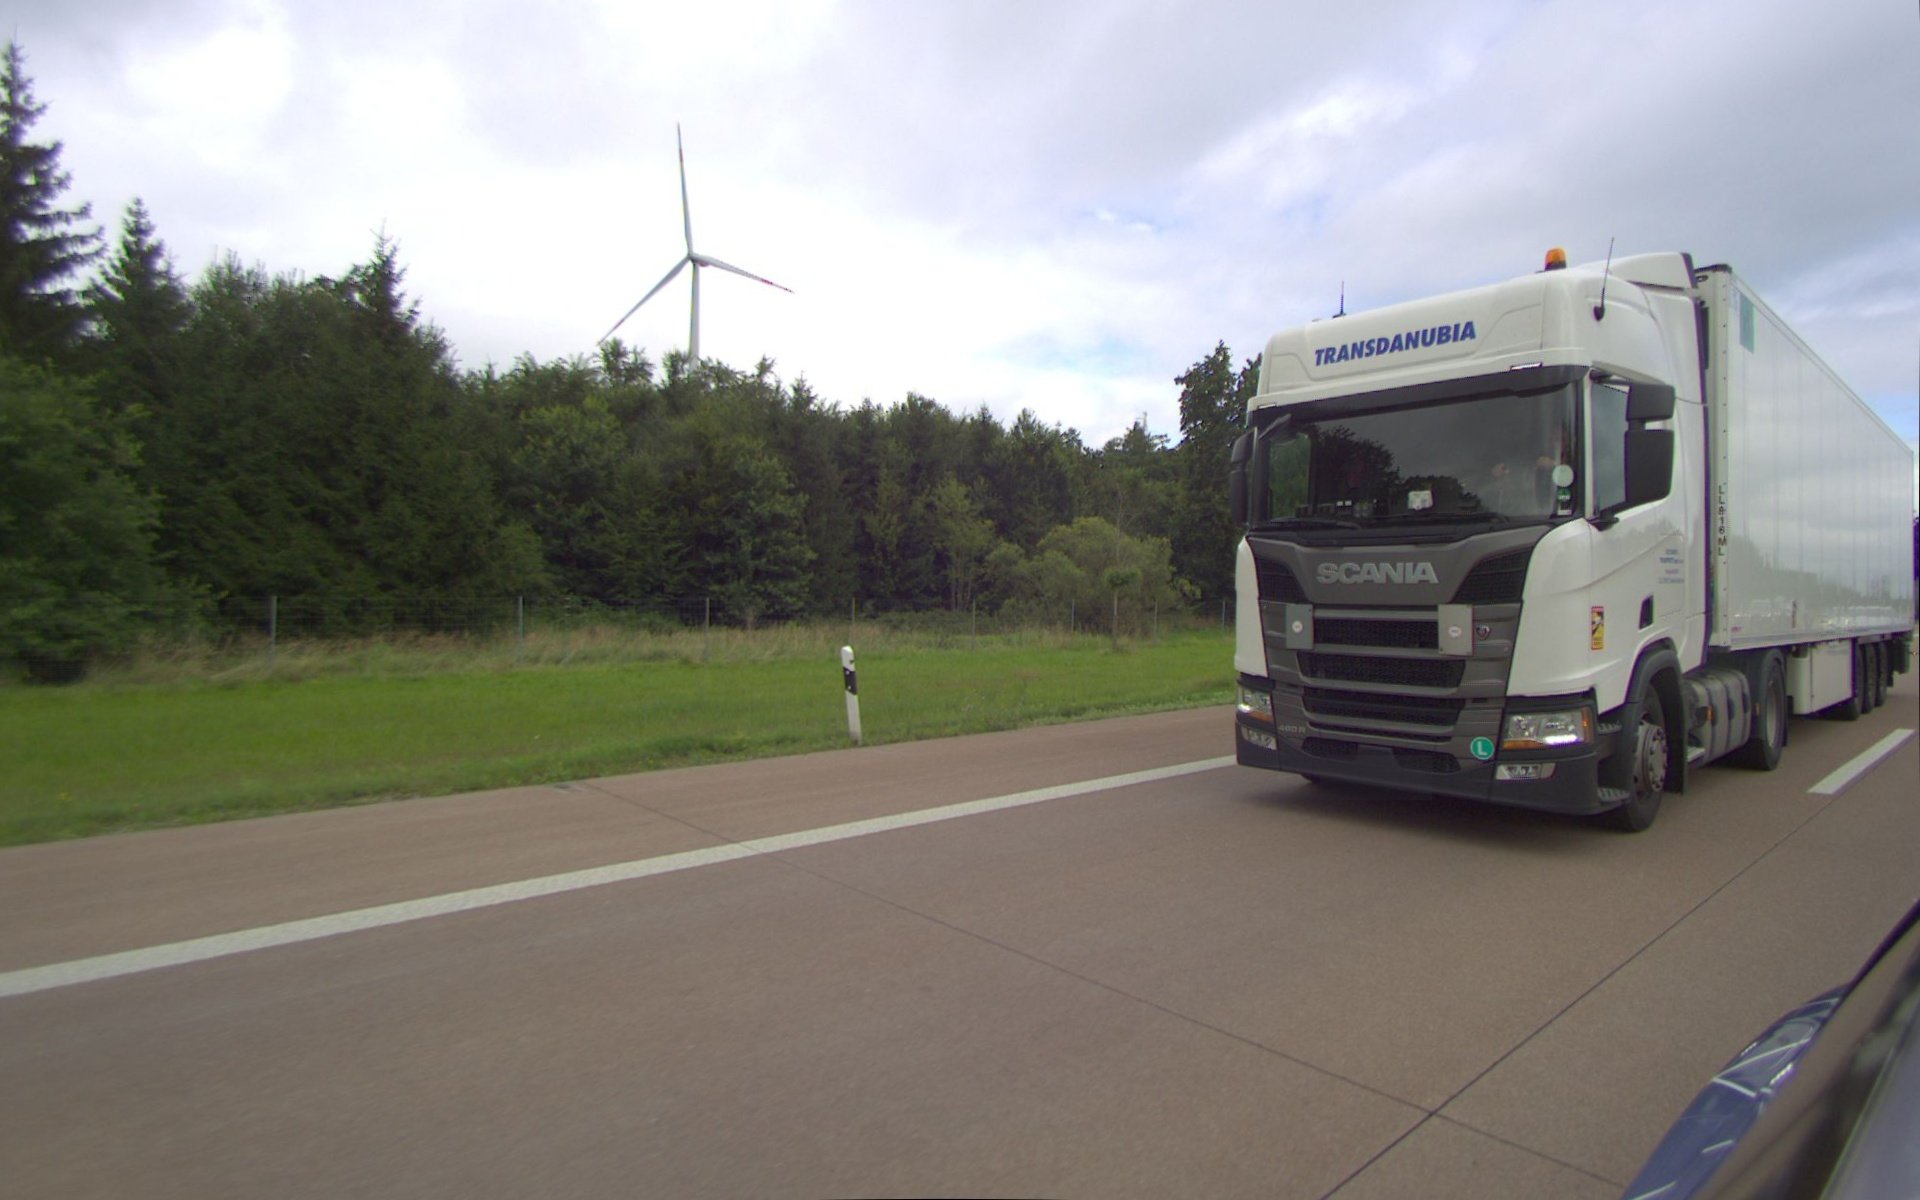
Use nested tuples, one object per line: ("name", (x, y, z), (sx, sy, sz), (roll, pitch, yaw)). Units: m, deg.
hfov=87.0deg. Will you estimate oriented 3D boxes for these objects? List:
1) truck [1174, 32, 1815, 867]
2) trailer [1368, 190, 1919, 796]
("truck", (4.498, -0.808, 8.128), (5.242, 4.348, 2.926), (0, 0, -42))
("trailer", (9.764, -0.802, 12.830), (13.378, 4.348, 2.926), (0, 0, -42))
